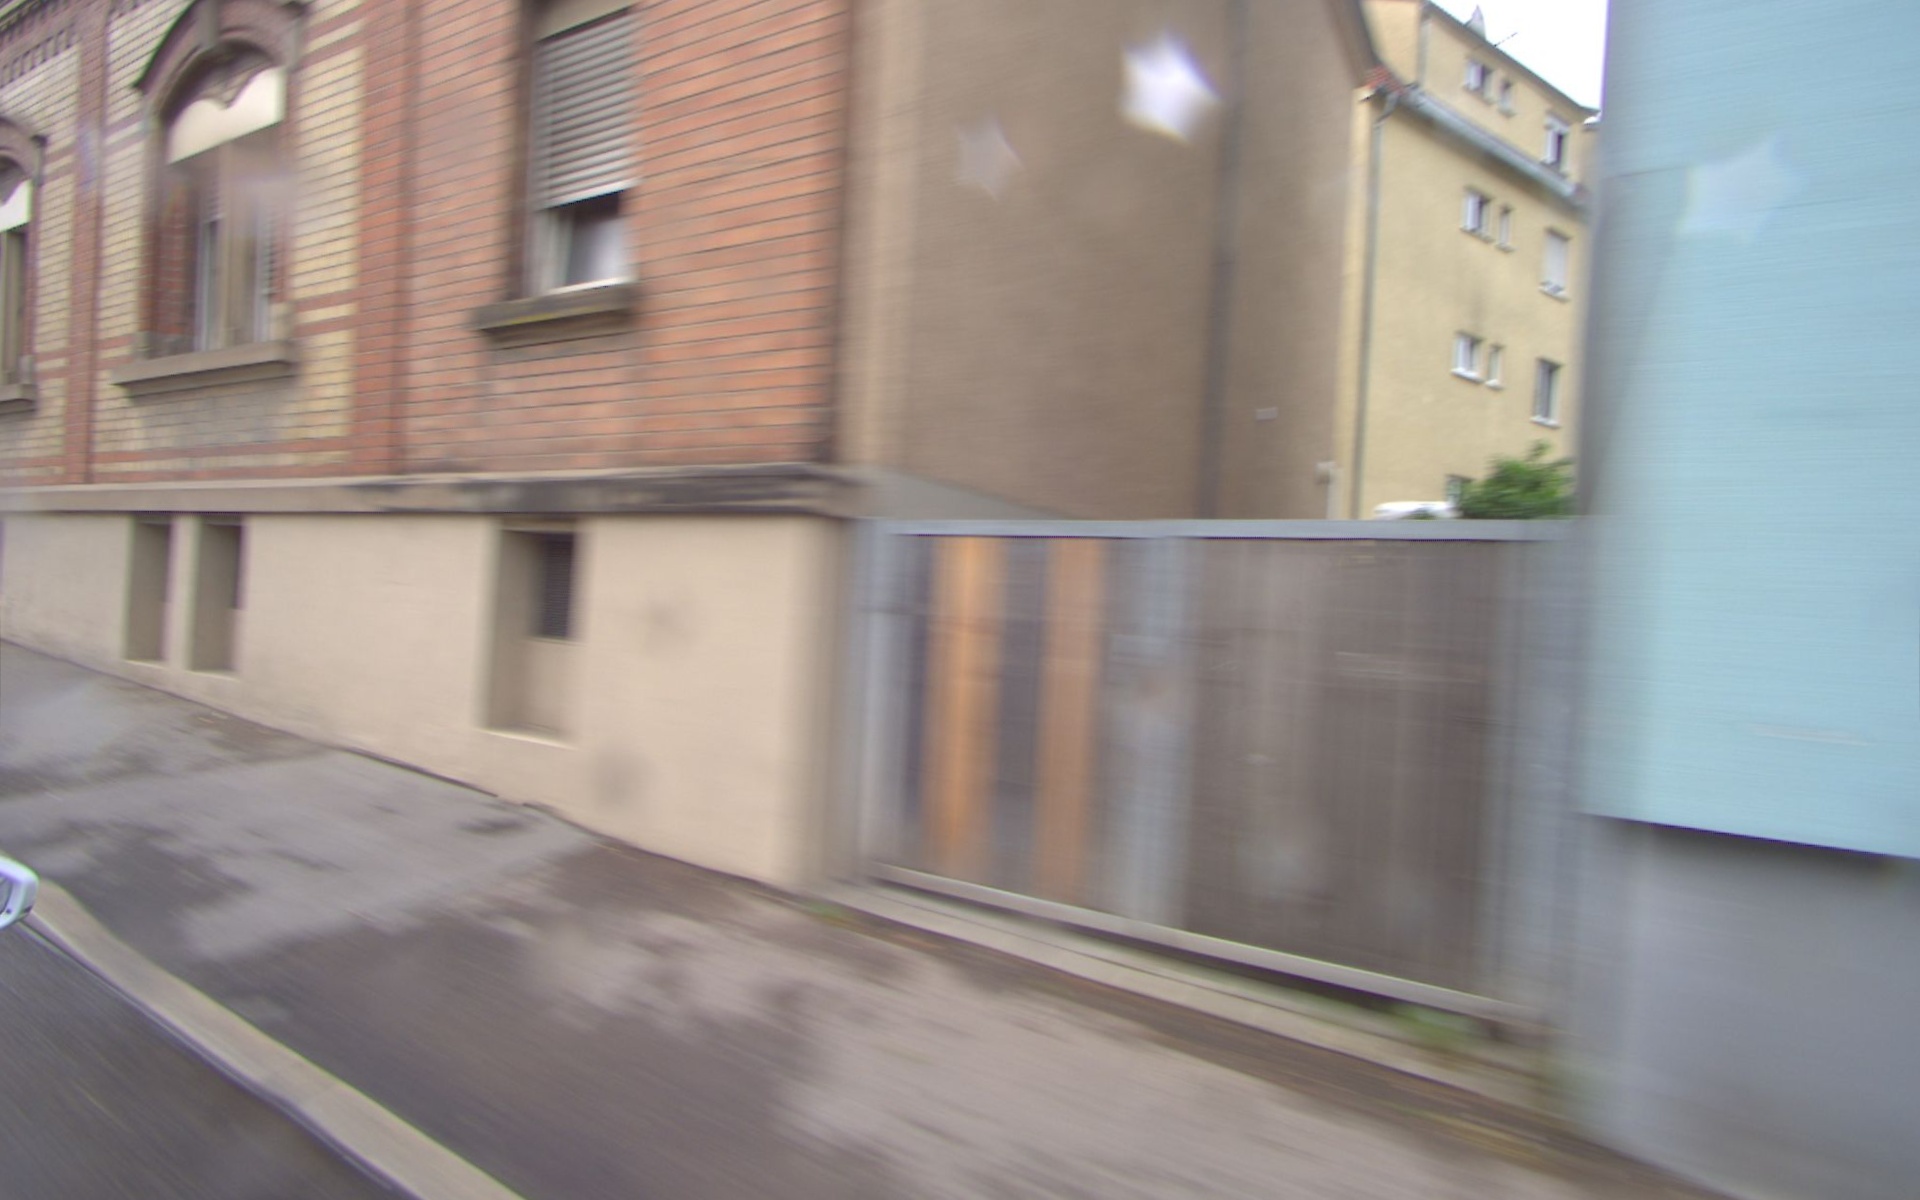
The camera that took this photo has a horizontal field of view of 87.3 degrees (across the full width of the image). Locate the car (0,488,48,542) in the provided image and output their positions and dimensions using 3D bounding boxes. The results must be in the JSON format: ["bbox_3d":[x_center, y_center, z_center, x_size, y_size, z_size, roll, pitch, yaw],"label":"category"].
[{"bbox_3d":[-31.523,-2.805,31.543,3.955,1.526,1.884,4,-2,-32],"label":"car"}]
